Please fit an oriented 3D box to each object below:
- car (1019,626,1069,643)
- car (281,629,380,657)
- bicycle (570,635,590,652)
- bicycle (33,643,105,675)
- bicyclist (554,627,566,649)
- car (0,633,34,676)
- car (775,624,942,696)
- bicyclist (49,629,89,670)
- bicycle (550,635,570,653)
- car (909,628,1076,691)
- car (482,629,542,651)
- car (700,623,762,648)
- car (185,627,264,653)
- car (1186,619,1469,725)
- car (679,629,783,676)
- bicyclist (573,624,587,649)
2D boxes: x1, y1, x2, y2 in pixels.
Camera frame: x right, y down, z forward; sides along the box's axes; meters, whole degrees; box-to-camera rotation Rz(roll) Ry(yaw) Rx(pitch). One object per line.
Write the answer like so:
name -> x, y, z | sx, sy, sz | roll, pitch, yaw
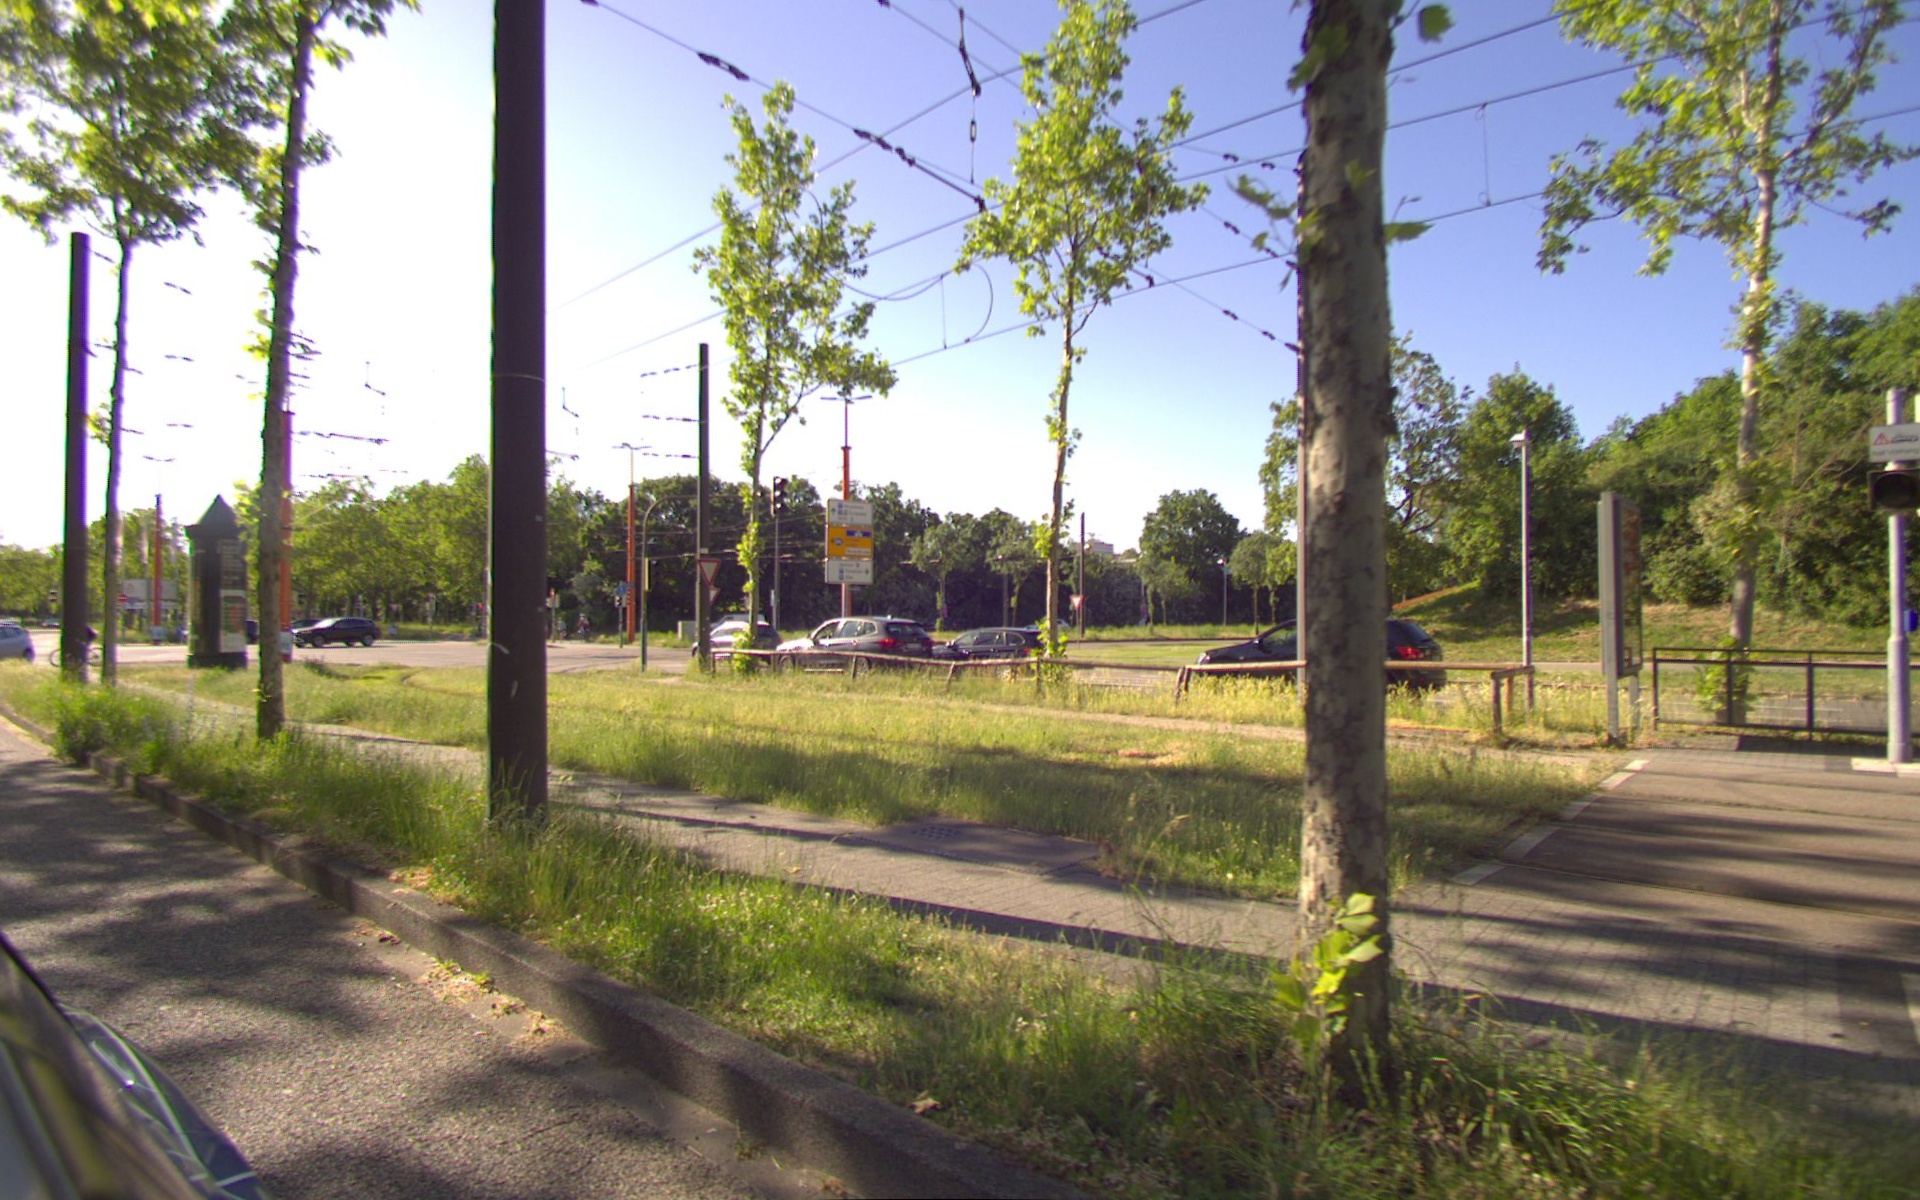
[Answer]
car -> 7.420, 3.052, 89.351 | 3.930, 1.522, 1.806 | 0, -2, -22
car -> -36.142, 2.440, 58.262 | 1.783, 1.522, 4.579 | -2, -2, 30
bicycle -> -25.107, 2.876, 66.854 | 1.800, 1.116, 0.554 | -2, -2, 44
bicycle -> -32.921, 2.170, 37.404 | 1.868, 1.116, 0.705 | 0, -1, -25
bicyclist -> -26.134, 2.482, 66.113 | 0.778, 1.458, 0.493 | -2, -2, 44
car -> -37.357, 2.073, 38.252 | 1.677, 1.600, 3.913 | 0, -2, -11
car -> -2.586, 1.423, 25.205 | 4.232, 1.629, 1.775 | -2, -2, 42
bicyclist -> -32.936, 1.814, 37.404 | 0.940, 1.489, 0.705 | 0, -1, -25
bicycle -> -26.133, 2.864, 66.104 | 1.800, 1.116, 0.493 | -2, -2, 44
car -> 0.782, 1.504, 26.526 | 4.266, 1.522, 1.775 | -2, -2, 42
car -> -32.519, 2.881, 73.608 | 3.930, 1.522, 1.806 | 0, -2, -22
car -> -18.013, 2.777, 79.514 | 4.478, 1.849, 1.806 | 0, -2, -22
car -> -48.644, 2.648, 67.021 | 3.930, 1.667, 1.806 | 0, -2, -22
car -> 6.268, 1.161, 17.573 | 4.266, 1.620, 1.775 | -2, -2, 42
car -> -8.771, 1.948, 38.611 | 4.266, 1.691, 1.775 | -2, -2, 42
bicyclist -> -25.109, 2.390, 66.866 | 0.715, 1.665, 0.554 | -2, -2, 44
